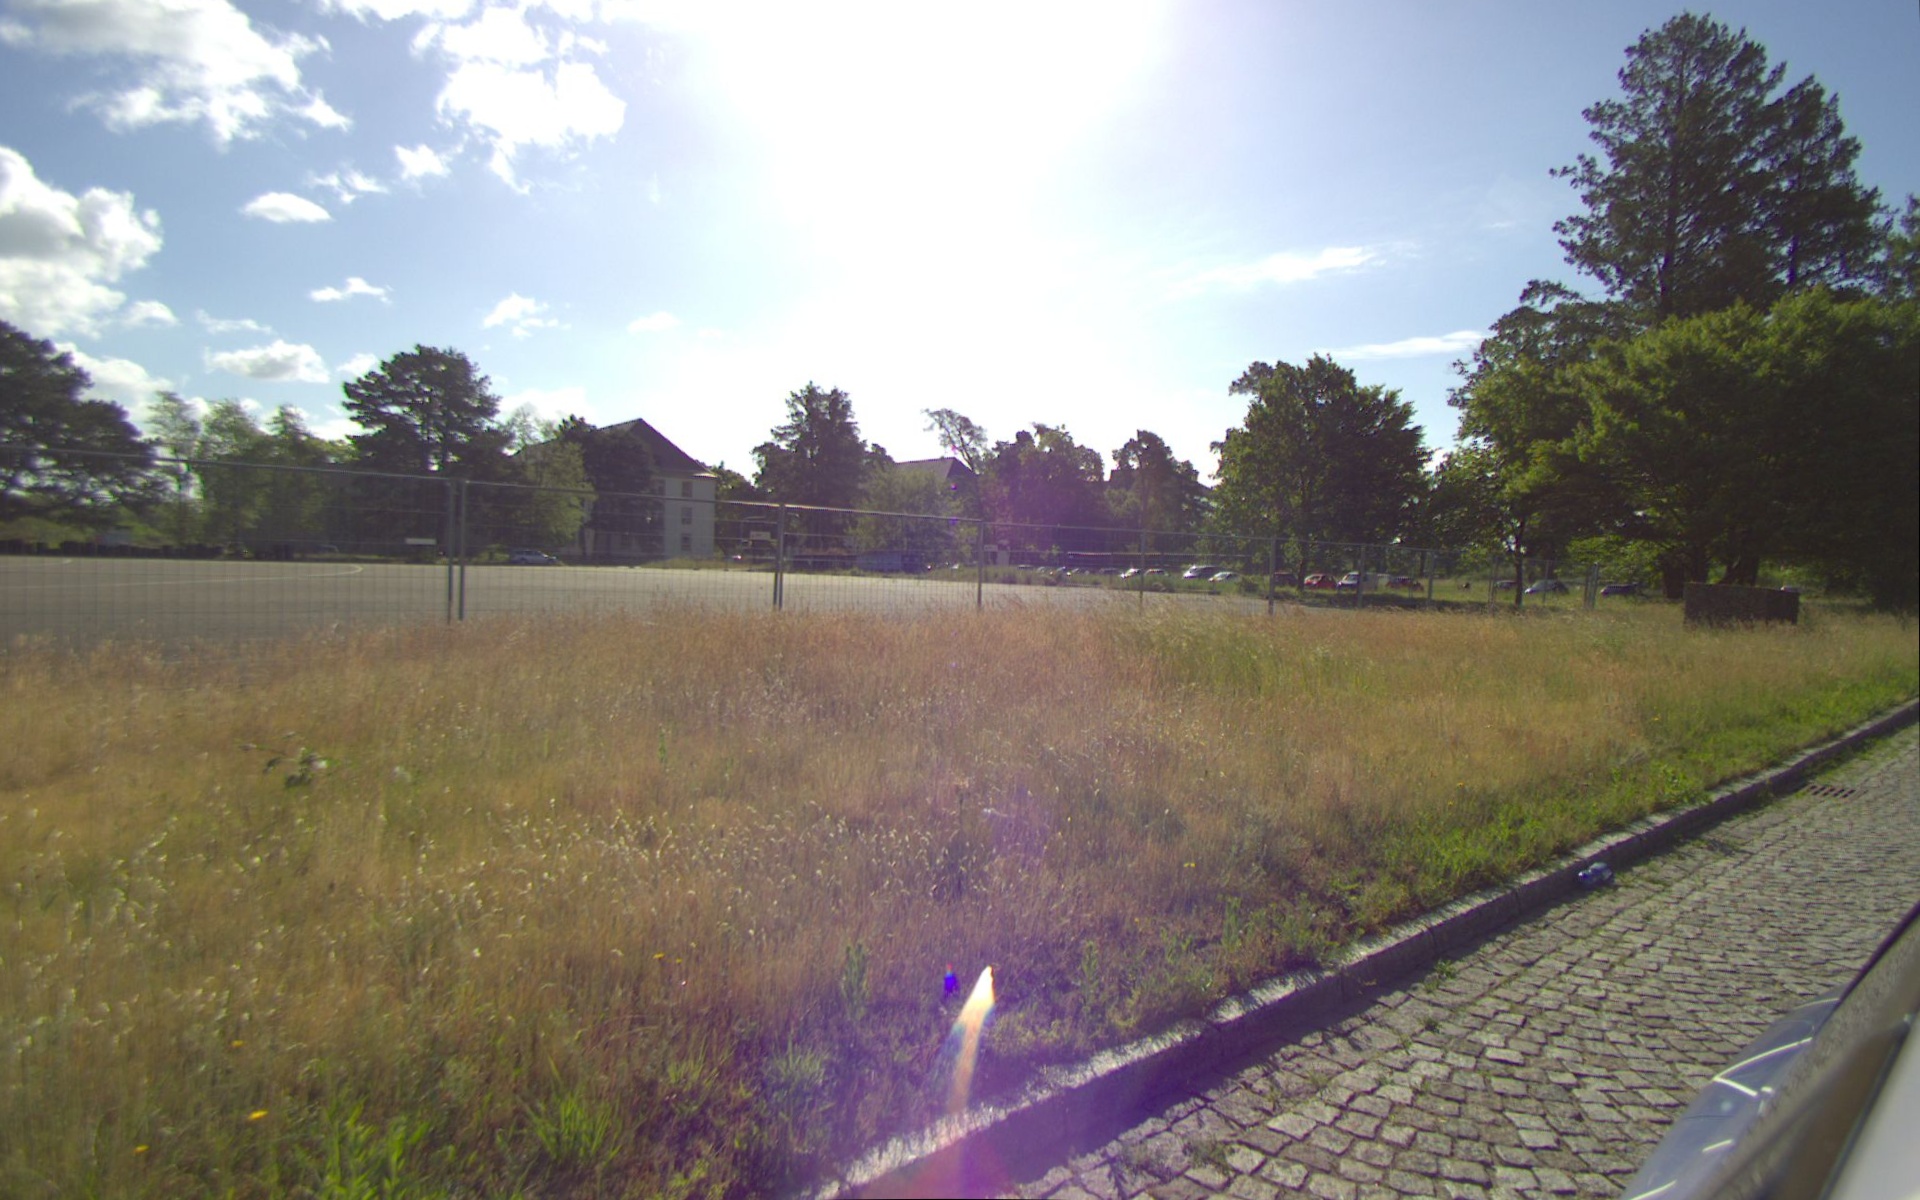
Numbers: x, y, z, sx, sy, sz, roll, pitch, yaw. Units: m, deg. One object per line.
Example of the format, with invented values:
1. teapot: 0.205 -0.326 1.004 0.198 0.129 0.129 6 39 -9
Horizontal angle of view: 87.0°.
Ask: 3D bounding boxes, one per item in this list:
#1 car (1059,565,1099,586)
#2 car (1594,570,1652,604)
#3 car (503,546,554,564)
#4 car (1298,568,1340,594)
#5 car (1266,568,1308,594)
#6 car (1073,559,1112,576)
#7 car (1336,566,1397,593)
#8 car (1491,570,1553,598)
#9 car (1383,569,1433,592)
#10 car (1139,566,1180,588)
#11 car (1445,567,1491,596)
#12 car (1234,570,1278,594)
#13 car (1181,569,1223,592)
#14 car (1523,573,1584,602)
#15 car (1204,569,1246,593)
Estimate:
1. car: 12.418 -2.552 105.527 3.930 2.038 1.998 0 2 -41
2. car: 43.450 -0.864 66.280 4.277 2.038 2.243 0 3 -44
3. car: -39.841 -4.144 93.477 3.934 1.601 1.996 -1 3 -44
4. car: 29.710 -1.562 83.740 3.556 2.038 1.741 0 3 -41
5. car: 27.690 -1.605 85.703 3.556 2.038 1.741 0 3 -41
6. car: 13.482 -3.304 103.140 3.781 1.678 1.742 0 3 -38
7. car: 32.666 -1.682 81.301 5.928 2.038 1.998 -2 2 -40
8. car: 40.063 -1.115 72.105 4.267 1.861 2.248 0 3 -36
9. car: 34.532 -1.522 77.930 3.930 1.672 1.998 0 3 -41
10. car: 19.043 -2.170 96.682 3.781 2.038 1.742 0 3 -38
11. car: 37.802 -1.371 75.311 3.556 2.038 1.741 0 3 -41
12. car: 26.218 -1.612 89.604 3.931 2.038 1.997 0 2 -42
13. car: 22.069 -1.759 92.294 3.781 2.038 1.742 0 3 -38
14. car: 40.938 -0.864 69.759 4.271 1.861 2.246 0 3 -39
15. car: 23.721 -1.716 90.474 3.784 2.038 1.741 0 3 -41
